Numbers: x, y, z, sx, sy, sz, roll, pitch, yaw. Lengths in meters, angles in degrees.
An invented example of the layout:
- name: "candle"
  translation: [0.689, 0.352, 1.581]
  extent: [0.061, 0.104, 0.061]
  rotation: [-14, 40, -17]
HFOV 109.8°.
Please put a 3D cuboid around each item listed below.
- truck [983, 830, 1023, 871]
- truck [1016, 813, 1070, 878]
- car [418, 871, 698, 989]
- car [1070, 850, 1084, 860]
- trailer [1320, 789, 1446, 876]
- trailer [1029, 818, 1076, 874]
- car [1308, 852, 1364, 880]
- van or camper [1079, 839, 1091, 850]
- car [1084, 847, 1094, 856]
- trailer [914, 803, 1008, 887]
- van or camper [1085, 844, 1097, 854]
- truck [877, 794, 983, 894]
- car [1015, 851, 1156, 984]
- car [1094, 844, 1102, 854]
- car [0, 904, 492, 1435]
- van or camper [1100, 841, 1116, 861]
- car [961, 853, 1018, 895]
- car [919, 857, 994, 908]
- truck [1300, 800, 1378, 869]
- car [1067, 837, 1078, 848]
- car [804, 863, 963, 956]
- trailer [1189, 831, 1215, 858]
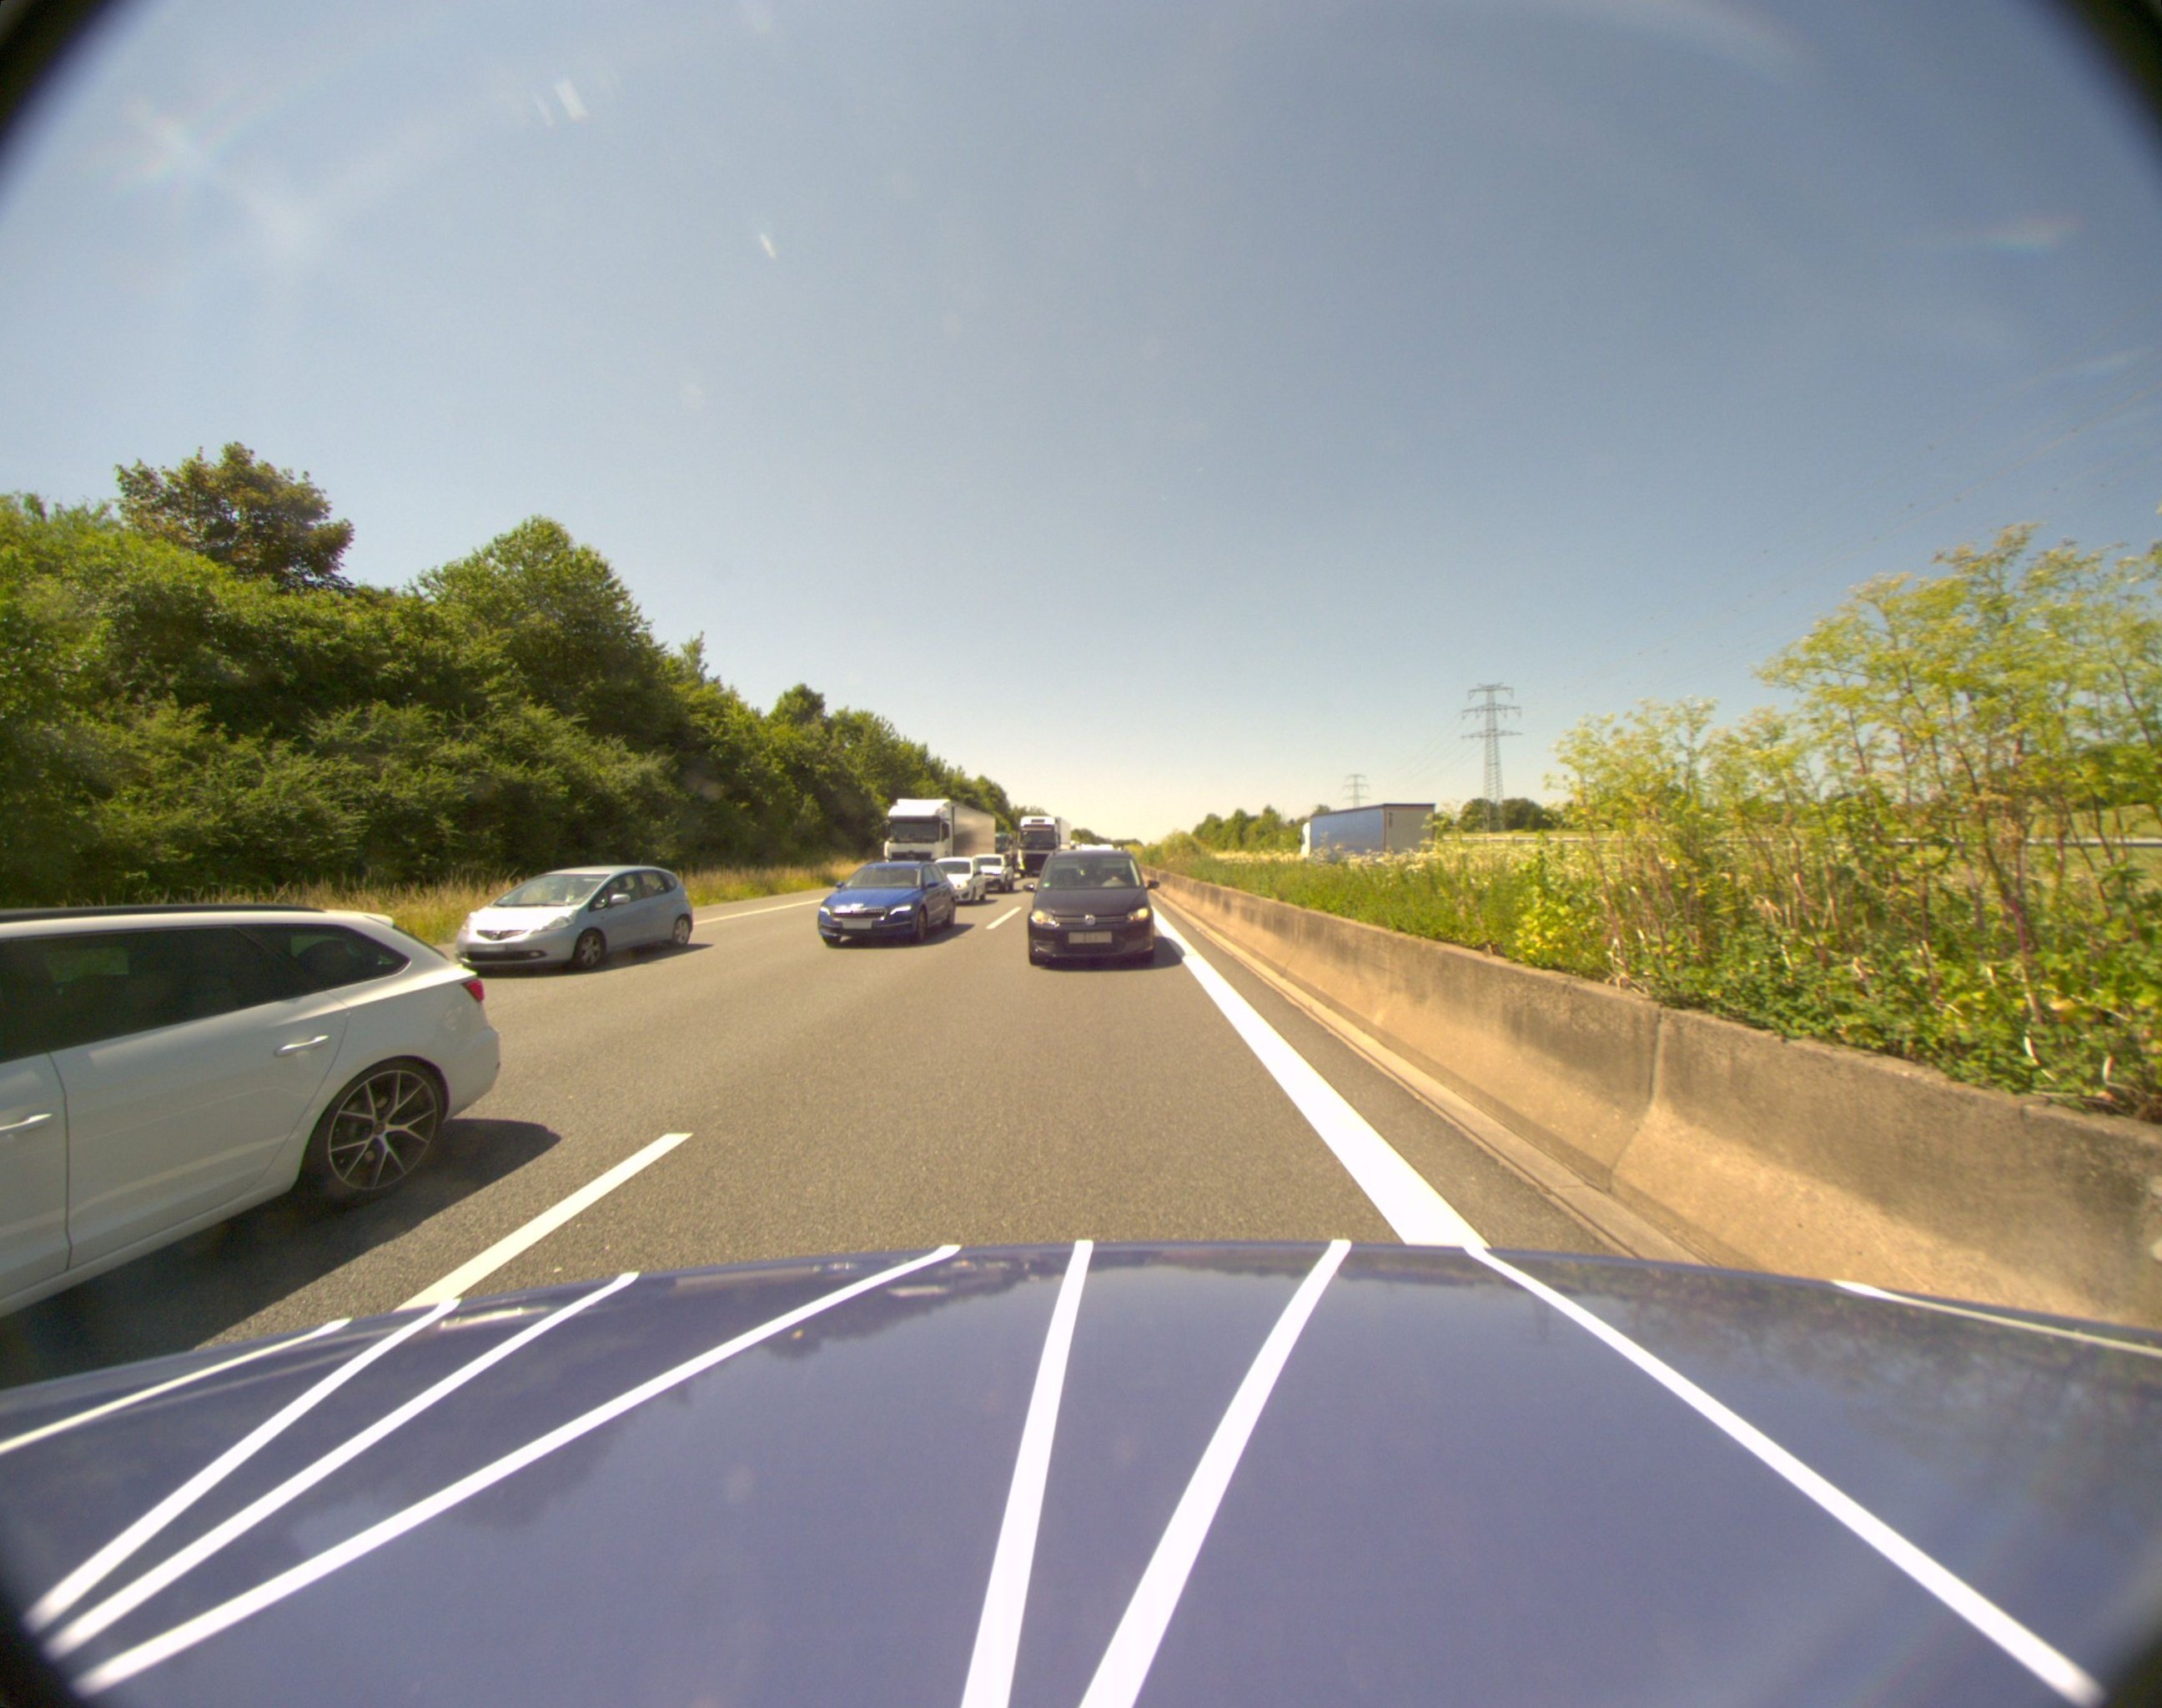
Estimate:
- name: "truck"
  translation: [-6.135, -0.301, 60.543]
  extent: [2.299, 3.128, 5.675]
  rotation: [-1, 1, 3]
- name: "truck"
  translation: [-2.441, -0.592, 52.022]
  extent: [2.750, 3.972, 8.361]
  rotation: [-1, 1, 3]
- name: "car"
  translation: [-7.918, 1.051, 12.031]
  extent: [1.666, 1.453, 3.922]
  rotation: [0, 1, 1]
- name: "car"
  translation: [-0.508, 0.126, 100.042]
  extent: [1.650, 1.336, 3.381]
  rotation: [-1, 1, 3]
- name: "trailer"
  translation: [16.598, -1.144, 42.894]
  extent: [3.019, 4.203, 10.981]
  rotation: [-1, 1, 2]
- name: "trailer"
  translation: [-2.109, -0.635, 59.107]
  extent: [2.776, 3.951, 9.156]
  rotation: [-1, 1, 3]
- name: "car"
  translation: [12.143, 0.537, 36.339]
  extent: [1.539, 1.231, 3.393]
  rotation: [-1, 0, 1]
- name: "van or camper"
  translation: [0.962, -2.488, 194.245]
  extent: [2.745, 2.680, 5.363]
  rotation: [-1, 1, 2]
- name: "car"
  translation: [1.460, -0.524, 140.200]
  extent: [1.652, 1.636, 4.000]
  rotation: [-1, 1, 3]
- name: "trailer"
  translation: [-6.577, -0.534, 43.984]
  extent: [2.879, 4.133, 12.076]
  rotation: [-1, 1, 3]
- name: "van or camper"
  translation: [2.076, -0.966, 156.452]
  extent: [2.189, 2.018, 4.364]
  rotation: [-1, 1, 3]
- name: "truck"
  translation: [-6.923, -0.479, 36.265]
  extent: [2.879, 4.133, 8.475]
  rotation: [-1, 1, 3]
- name: "car"
  translation: [0.144, 0.791, 12.232]
  extent: [1.758, 1.571, 5.291]
  rotation: [-1, 1, 2]
- name: "car"
  translation: [4.464, -1.311, 196.738]
  extent: [1.998, 2.302, 4.229]
  rotation: [-1, 1, 2]
- name: "car"
  translation: [-4.130, 1.040, 1.938]
  extent: [1.752, 1.435, 4.313]
  rotation: [-1, 1, 2]
- name: "van or camper"
  translation: [3.512, -0.368, 97.394]
  extent: [1.956, 2.368, 4.037]
  rotation: [-3, 1, 3]
- name: "car"
  translation: [-3.686, 0.777, 31.190]
  extent: [1.748, 1.549, 3.884]
  rotation: [0, 1, 2]
- name: "car"
  translation: [-3.946, 0.865, 24.632]
  extent: [1.609, 1.426, 3.810]
  rotation: [0, 1, 3]
- name: "truck"
  translation: [16.915, -1.256, 50.357]
  extent: [3.019, 4.203, 6.686]
  rotation: [-1, 1, 2]
- name: "car"
  translation: [-1.660, -2.302, 153.894]
  extent: [1.998, 2.002, 4.000]
  rotation: [-1, 1, 2]
- name: "car"
  translation: [-3.636, 0.945, 14.894]
  extent: [1.780, 1.408, 4.572]
  rotation: [0, 1, 2]
- name: "trailer"
  translation: [20.288, -1.655, 127.703]
  extent: [2.828, 4.182, 10.684]
  rotation: [-3, 1, 2]
